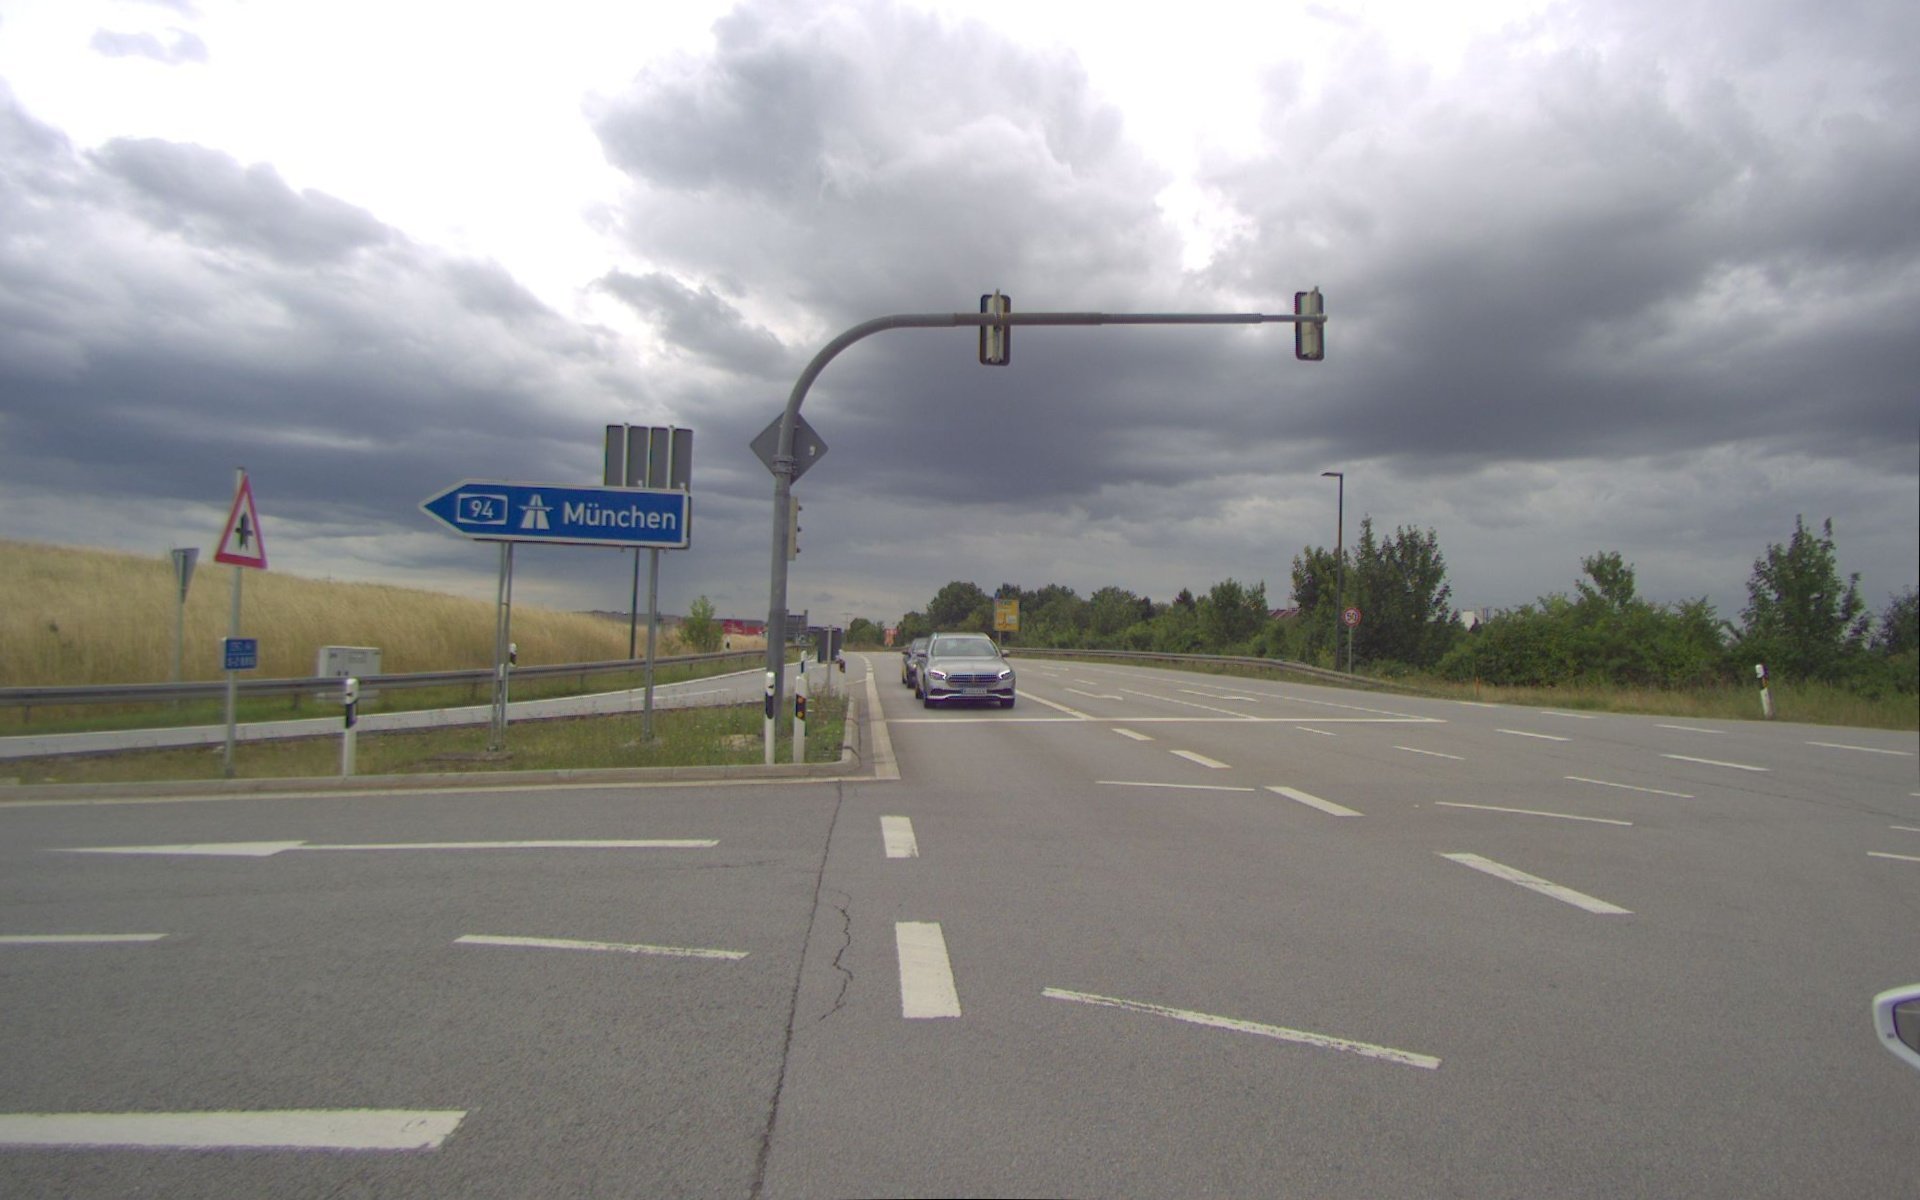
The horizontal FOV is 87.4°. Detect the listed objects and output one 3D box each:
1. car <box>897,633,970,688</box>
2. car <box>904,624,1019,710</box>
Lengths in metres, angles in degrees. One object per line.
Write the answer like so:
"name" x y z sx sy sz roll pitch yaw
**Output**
"car" -0.852 1.733 29.157 1.681 1.429 4.671 2 -3 -7
"car" -0.094 1.357 21.620 1.885 1.631 4.944 0 -2 -7
